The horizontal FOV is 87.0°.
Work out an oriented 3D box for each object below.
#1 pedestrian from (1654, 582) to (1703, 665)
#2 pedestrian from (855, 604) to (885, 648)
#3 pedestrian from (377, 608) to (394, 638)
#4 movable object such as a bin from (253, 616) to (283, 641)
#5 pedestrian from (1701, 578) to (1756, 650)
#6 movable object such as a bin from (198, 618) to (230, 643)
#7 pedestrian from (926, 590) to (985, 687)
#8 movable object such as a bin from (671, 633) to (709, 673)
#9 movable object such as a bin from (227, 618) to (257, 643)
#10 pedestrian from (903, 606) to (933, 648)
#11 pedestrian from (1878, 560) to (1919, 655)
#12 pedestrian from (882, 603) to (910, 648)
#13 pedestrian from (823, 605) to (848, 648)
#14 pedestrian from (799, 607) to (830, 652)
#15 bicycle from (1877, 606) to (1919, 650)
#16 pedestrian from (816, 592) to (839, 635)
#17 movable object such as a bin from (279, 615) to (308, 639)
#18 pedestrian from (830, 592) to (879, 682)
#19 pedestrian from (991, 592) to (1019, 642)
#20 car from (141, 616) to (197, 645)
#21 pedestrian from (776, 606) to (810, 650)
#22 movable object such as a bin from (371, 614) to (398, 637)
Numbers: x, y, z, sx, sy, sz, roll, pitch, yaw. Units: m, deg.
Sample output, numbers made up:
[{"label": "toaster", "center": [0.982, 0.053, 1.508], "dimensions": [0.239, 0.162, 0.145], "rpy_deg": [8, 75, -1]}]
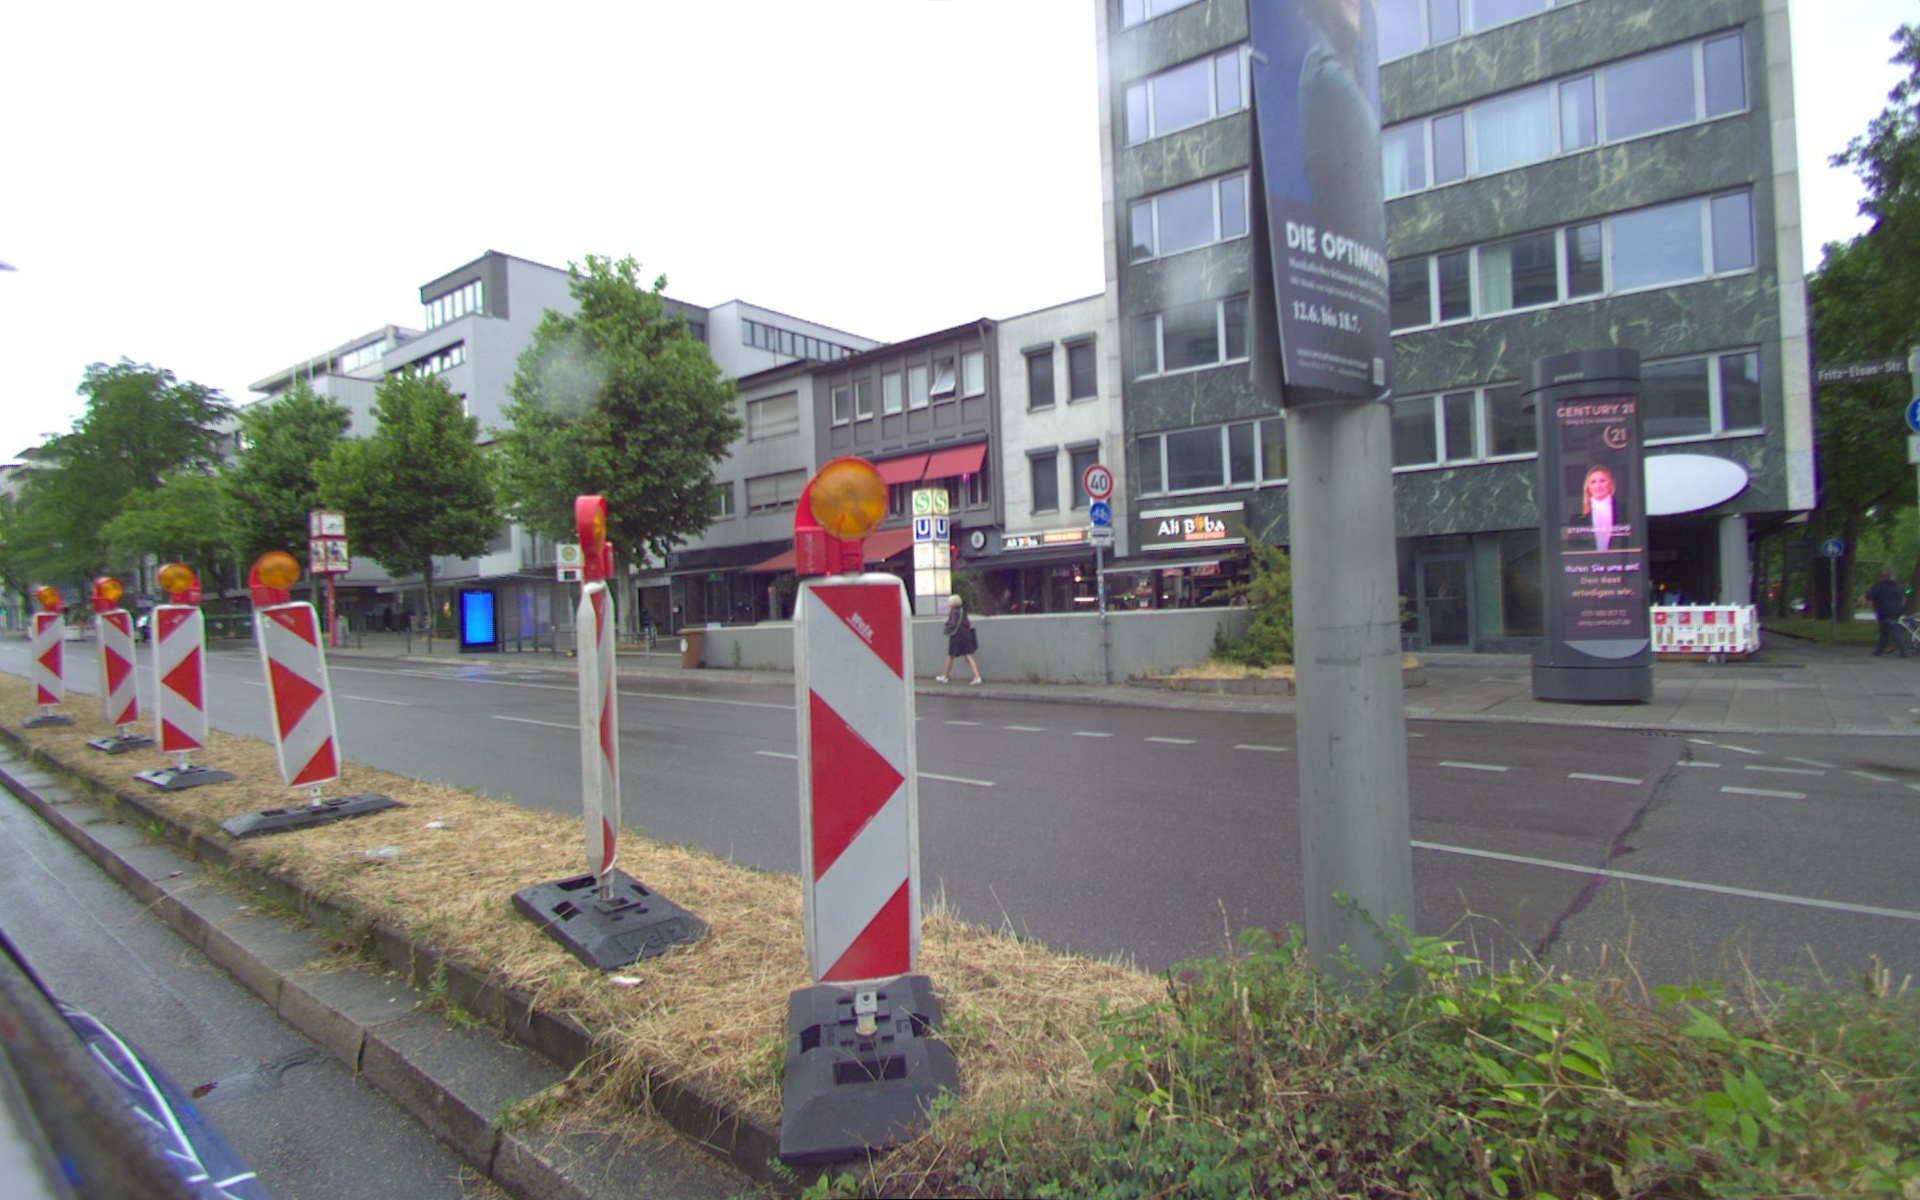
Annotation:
[{"label": "pedestrian", "center": [16.618, 0.559, 23.403], "dimensions": [0.875, 1.868, 1.012], "rpy_deg": [-2, -5, 37]}, {"label": "pedestrian", "center": [-3.041, 0.866, 34.349], "dimensions": [0.690, 1.461, 0.720], "rpy_deg": [-2, -1, 34]}, {"label": "pedestrian", "center": [-33.930, 1.359, 59.782], "dimensions": [0.653, 1.776, 0.688], "rpy_deg": [-1, -1, 43]}, {"label": "movable object such as a bin", "center": [-42.494, 1.747, 62.142], "dimensions": [1.088, 1.437, 1.265], "rpy_deg": [-2, -1, 41]}, {"label": "pedestrian", "center": [17.805, 0.348, 23.441], "dimensions": [0.922, 1.597, 0.822], "rpy_deg": [-2, -5, 41]}, {"label": "movable object such as a bin", "center": [-44.243, 1.821, 60.007], "dimensions": [1.088, 1.437, 1.345], "rpy_deg": [-2, -1, 41]}, {"label": "pedestrian", "center": [-0.080, 0.673, 17.935], "dimensions": [0.757, 1.665, 0.683], "rpy_deg": [-2, -1, 37]}, {"label": "movable object such as a bin", "center": [-6.283, 1.229, 23.539], "dimensions": [0.680, 0.904, 0.527], "rpy_deg": [-1, -2, 32]}, {"label": "movable object such as a bin", "center": [-43.331, 1.828, 61.099], "dimensions": [1.088, 1.437, 1.265], "rpy_deg": [-2, -1, 41]}, {"label": "pedestrian", "center": [-1.362, 0.881, 32.870], "dimensions": [0.690, 1.354, 0.627], "rpy_deg": [-2, -1, 34]}, {"label": "pedestrian", "center": [19.388, 0.166, 20.652], "dimensions": [0.897, 1.900, 0.776], "rpy_deg": [-2, -5, 41]}, {"label": "pedestrian", "center": [-2.107, 0.842, 33.321], "dimensions": [0.690, 1.461, 0.627], "rpy_deg": [-2, -1, 34]}, {"label": "pedestrian", "center": [-4.349, 0.931, 35.414], "dimensions": [0.546, 1.461, 0.683], "rpy_deg": [-2, -1, 37]}, {"label": "pedestrian", "center": [-4.820, 0.982, 33.571], "dimensions": [0.706, 1.461, 0.683], "rpy_deg": [-2, -1, 37]}, {"label": "bicycle", "center": [20.851, 0.594, 21.623], "dimensions": [0.468, 0.941, 1.803], "rpy_deg": [0, -1, -39]}, {"label": "pedestrian", "center": [-4.873, 0.501, 37.236], "dimensions": [0.603, 1.582, 0.591], "rpy_deg": [-1, -1, 31]}, {"label": "movable object such as a bin", "center": [-41.603, 1.672, 63.196], "dimensions": [1.088, 1.499, 1.265], "rpy_deg": [-2, -1, 41]}, {"label": "pedestrian", "center": [-2.269, 0.787, 21.842], "dimensions": [0.757, 1.899, 0.683], "rpy_deg": [-2, -1, 37]}, {"label": "pedestrian", "center": [1.333, 0.498, 30.122], "dimensions": [0.587, 1.461, 0.597], "rpy_deg": [-2, -1, 36]}, {"label": "car", "center": [-48.015, 1.862, 61.429], "dimensions": [4.019, 1.648, 1.761], "rpy_deg": [-2, -1, 38]}, {"label": "pedestrian", "center": [-5.651, 0.951, 34.189], "dimensions": [0.912, 1.461, 0.683], "rpy_deg": [-2, -1, 37]}, {"label": "movable object such as a bin", "center": [-37.953, 1.685, 66.744], "dimensions": [1.278, 1.446, 1.077], "rpy_deg": [-1, -1, 32]}]
